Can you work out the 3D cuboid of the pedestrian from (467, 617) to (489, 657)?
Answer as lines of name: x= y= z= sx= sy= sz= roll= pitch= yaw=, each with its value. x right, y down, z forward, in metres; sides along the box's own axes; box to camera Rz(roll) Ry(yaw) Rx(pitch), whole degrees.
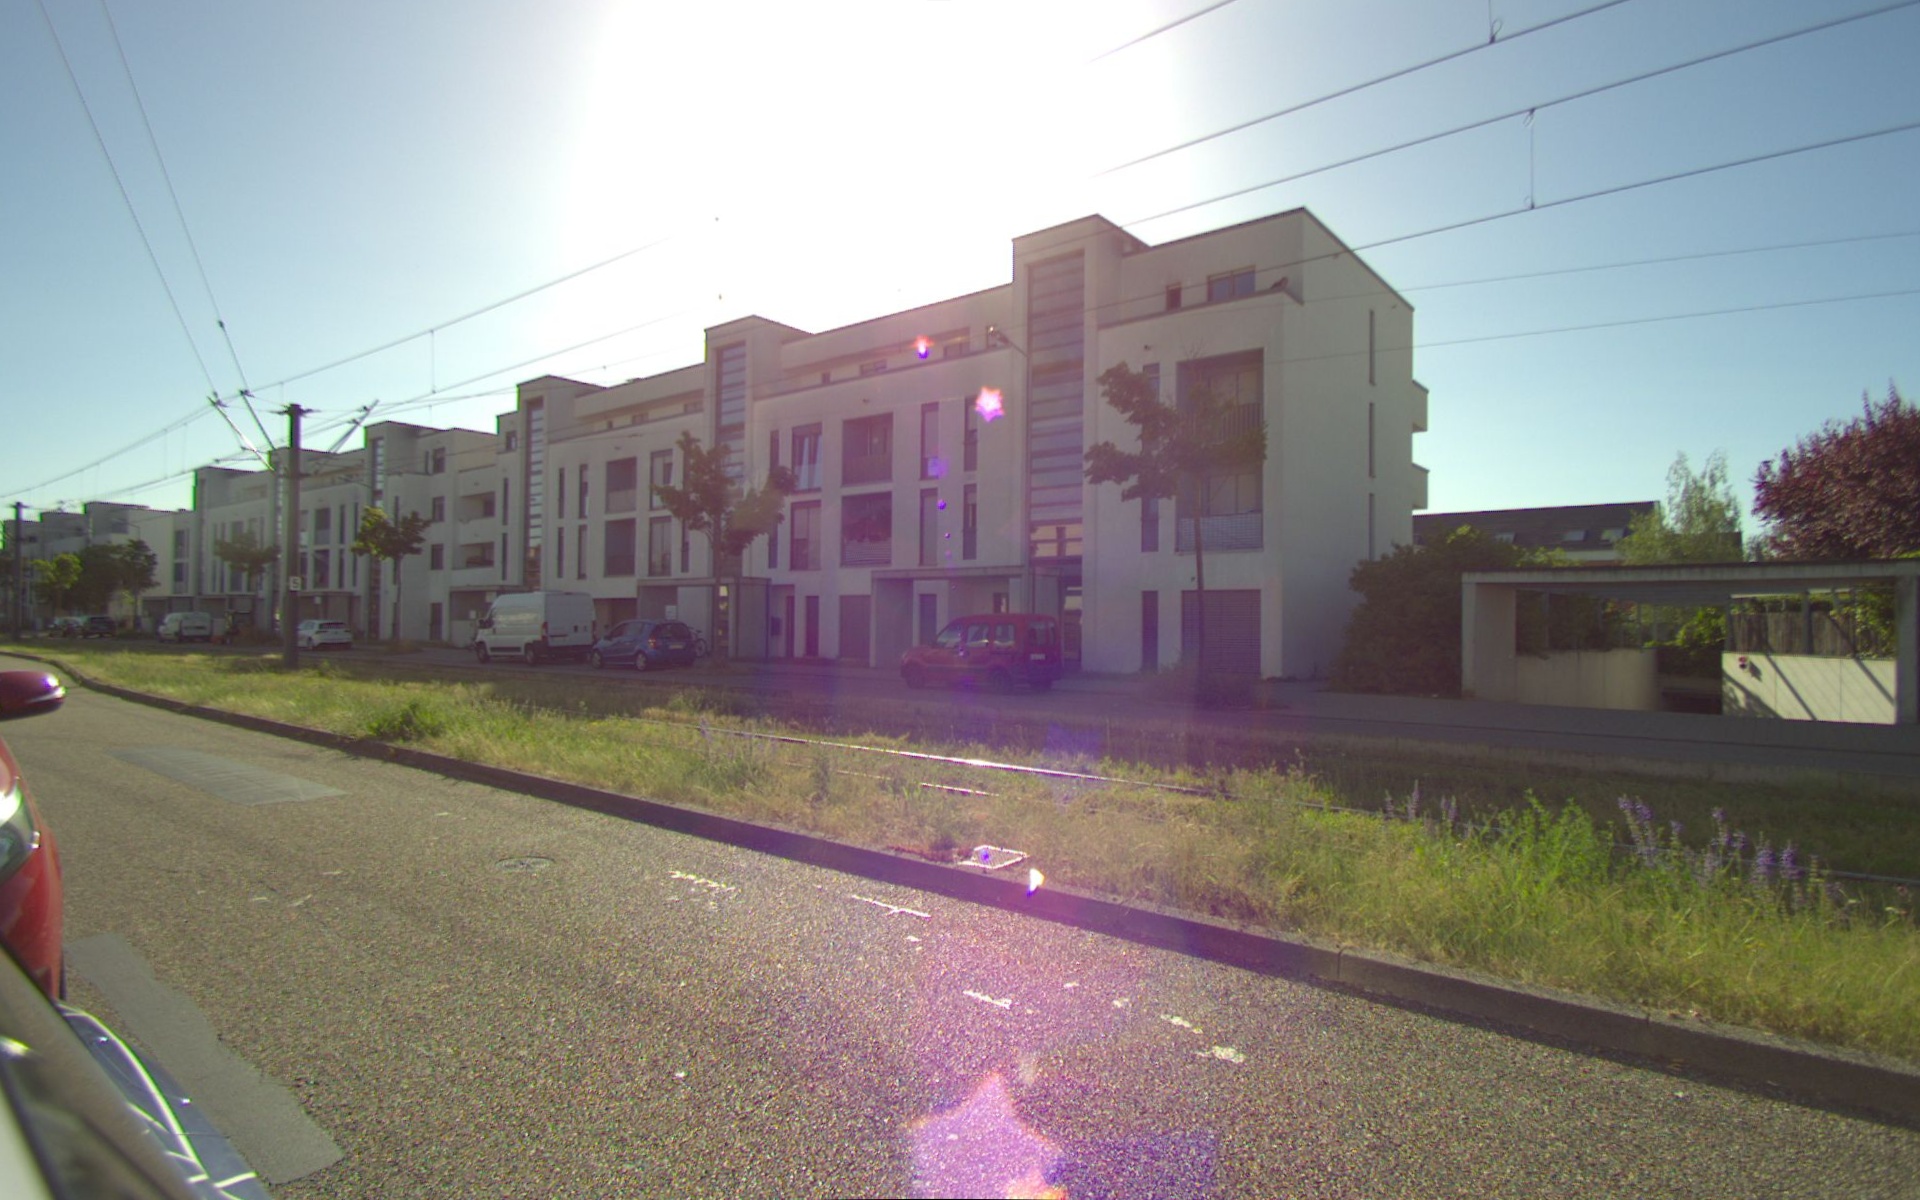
pedestrian: x=-20.132 y=1.526 z=42.284 sx=0.611 sy=1.656 sz=0.612 roll=-1 pitch=0 yaw=33

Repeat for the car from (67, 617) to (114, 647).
car: x=-63.003 y=2.285 z=73.303 sx=3.993 sy=2.029 sz=1.766 roll=-1 pitch=0 yaw=37

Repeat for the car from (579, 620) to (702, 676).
car: x=-10.003 y=1.455 z=31.583 sx=3.833 sy=1.625 sz=1.910 roll=-1 pitch=-2 yaw=40

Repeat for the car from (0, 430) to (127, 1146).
car: x=-5.078 y=0.566 z=3.894 sx=5.081 sy=1.984 sz=2.100 roll=-1 pitch=0 yaw=41

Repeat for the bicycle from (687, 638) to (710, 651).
bicycle: x=-10.532 y=1.806 z=40.787 sx=1.060 sy=0.502 sz=0.349 roll=-1 pitch=-3 yaw=40

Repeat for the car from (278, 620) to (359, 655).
car: x=-31.053 y=1.801 z=48.981 sx=4.115 sy=1.598 sz=2.022 roll=-1 pitch=-2 yaw=38

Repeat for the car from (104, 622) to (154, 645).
car: x=-56.795 y=2.275 z=69.164 sx=3.491 sy=1.449 sz=1.845 roll=-2 pitch=-1 yaw=37

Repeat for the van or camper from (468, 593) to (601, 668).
van or camper: x=-15.166 y=1.062 z=35.945 sx=5.256 sy=2.484 sz=2.170 roll=-1 pitch=-2 yaw=40

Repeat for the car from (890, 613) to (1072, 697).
car: x=0.423 y=1.193 z=22.925 sx=3.907 sy=1.736 sz=1.770 roll=-1 pitch=-3 yaw=42

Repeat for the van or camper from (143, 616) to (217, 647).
van or camper: x=-47.980 y=1.902 z=62.221 sx=6.279 sy=1.862 sz=2.244 roll=-1 pitch=-1 yaw=39
